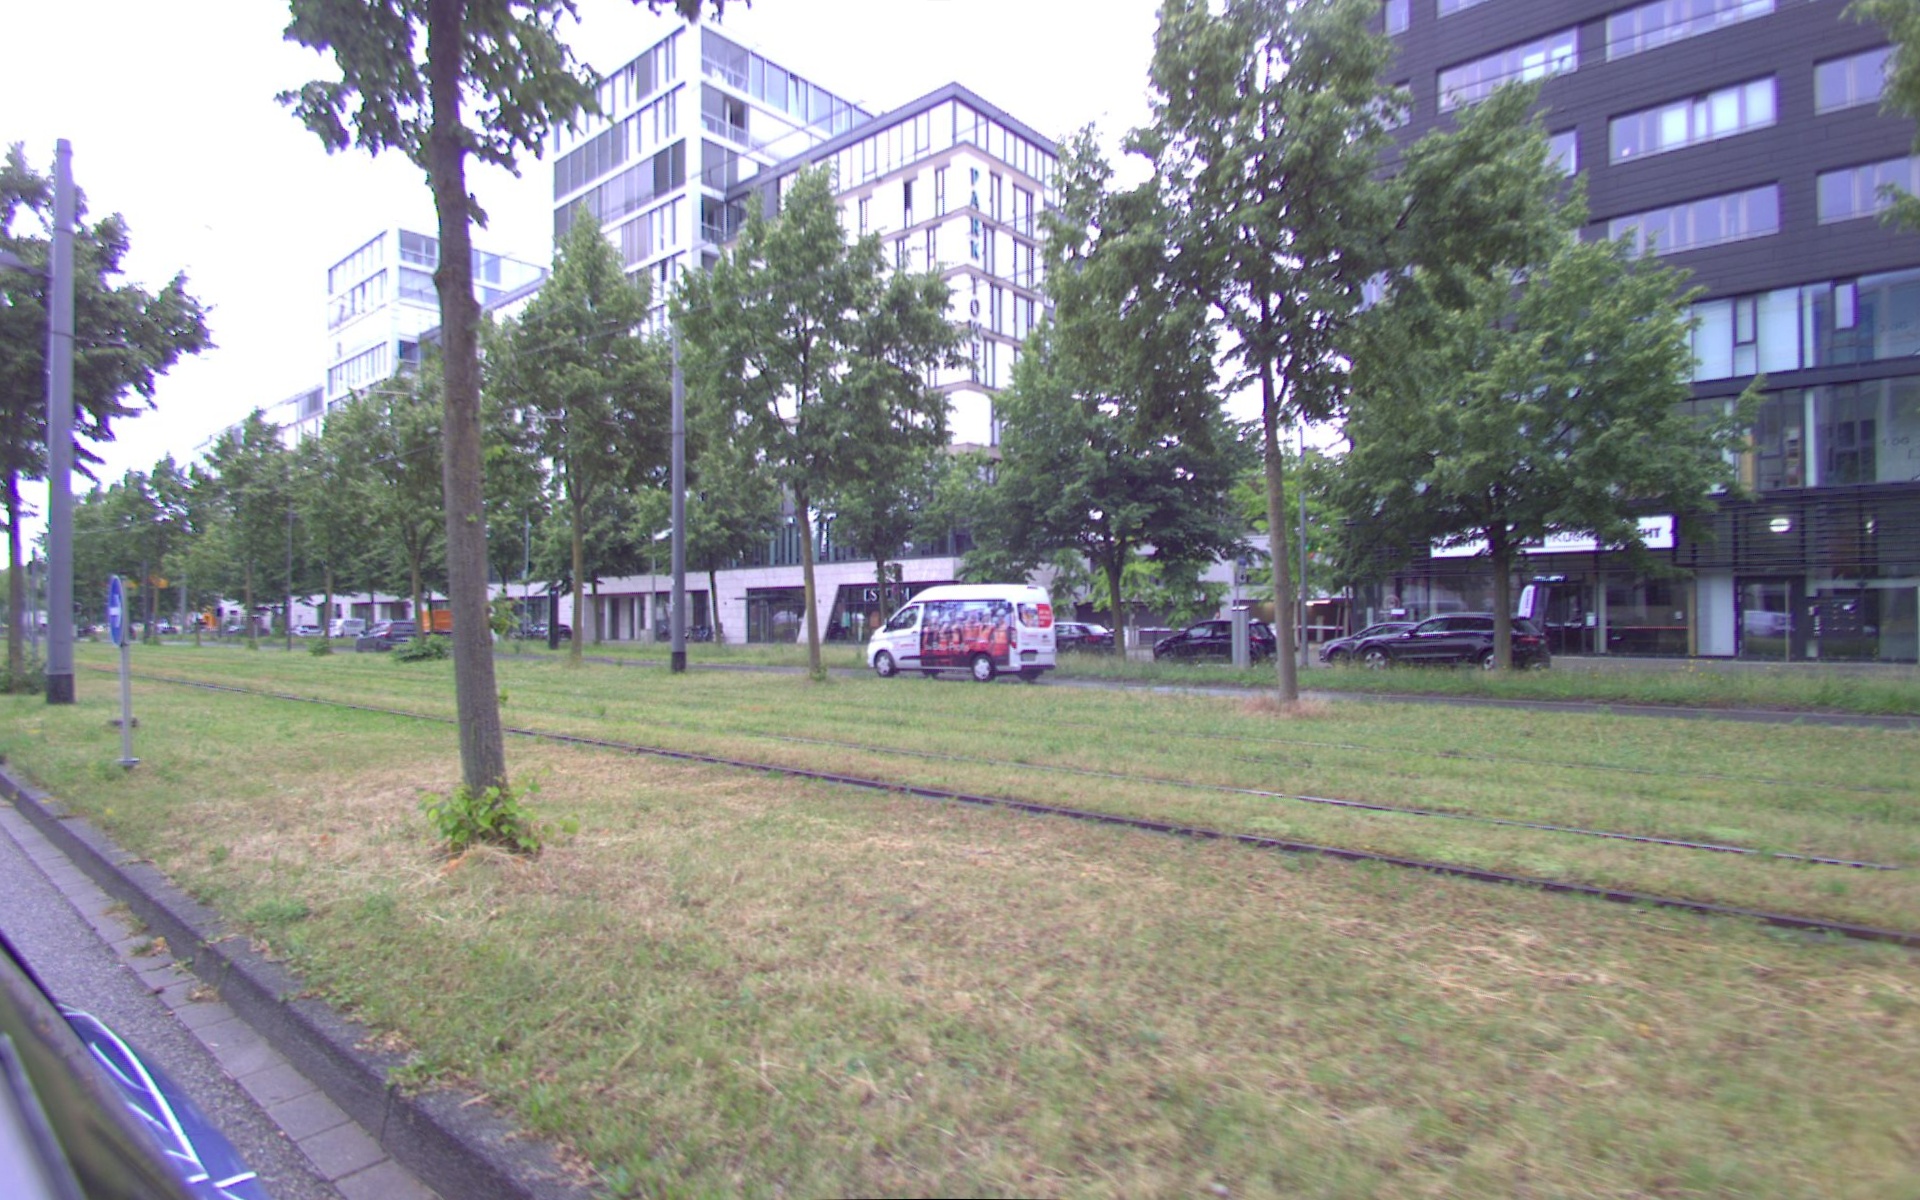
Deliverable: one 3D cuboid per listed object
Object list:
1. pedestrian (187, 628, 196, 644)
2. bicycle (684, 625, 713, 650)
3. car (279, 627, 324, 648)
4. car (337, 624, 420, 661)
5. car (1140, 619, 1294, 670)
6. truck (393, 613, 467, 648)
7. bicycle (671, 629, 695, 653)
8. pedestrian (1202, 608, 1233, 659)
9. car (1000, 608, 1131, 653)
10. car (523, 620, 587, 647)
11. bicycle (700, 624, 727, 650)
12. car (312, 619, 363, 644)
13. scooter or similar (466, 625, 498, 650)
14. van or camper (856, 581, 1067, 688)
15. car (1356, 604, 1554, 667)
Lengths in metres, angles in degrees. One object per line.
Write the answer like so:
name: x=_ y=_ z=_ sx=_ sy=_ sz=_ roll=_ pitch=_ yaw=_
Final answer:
pedestrian: x=-84.479 y=3.930 z=111.216 sx=0.793 sy=1.704 sz=0.703 roll=-2 pitch=-1 yaw=44
bicycle: x=-16.449 y=2.343 z=63.616 sx=0.680 sy=1.550 sz=1.686 roll=-2 pitch=-1 yaw=40
car: x=-56.176 y=3.161 z=86.325 sx=4.461 sy=1.725 sz=2.122 roll=-2 pitch=-1 yaw=41
car: x=-25.606 y=1.830 z=44.524 sx=4.477 sy=1.536 sz=1.843 roll=-2 pitch=-2 yaw=42
car: x=7.620 y=1.299 z=30.223 sx=3.998 sy=1.389 sz=1.973 roll=-2 pitch=-1 yaw=41
truck: x=-36.771 y=2.092 z=70.149 sx=6.305 sy=2.309 sz=2.401 roll=-2 pitch=-1 yaw=41
bicycle: x=-17.746 y=2.605 z=64.879 sx=0.546 sy=1.494 sz=1.417 roll=-2 pitch=-1 yaw=40
pedestrian: x=10.250 y=1.337 z=40.294 sx=0.784 sy=1.996 sz=0.857 roll=0 pitch=-1 yaw=-41
car: x=3.500 y=1.006 z=33.976 sx=3.998 sy=1.389 sz=1.973 roll=-2 pitch=-1 yaw=41
car: x=-23.273 y=1.899 z=58.089 sx=3.986 sy=1.476 sz=1.836 roll=-2 pitch=-2 yaw=41
bicycle: x=-15.367 y=2.315 z=63.016 sx=0.606 sy=1.550 sz=1.552 roll=-2 pitch=-1 yaw=40
car: x=-49.728 y=2.515 z=80.824 sx=5.161 sy=1.866 sz=1.973 roll=-2 pitch=-1 yaw=40
scooter or similar: x=-37.425 y=2.930 z=79.272 sx=0.883 sy=1.838 sz=2.105 roll=-2 pitch=-1 yaw=37
van or camper: x=-0.078 y=0.836 z=25.346 sx=5.400 sy=2.429 sz=1.889 roll=-2 pitch=-2 yaw=42
car: x=12.507 y=0.873 z=25.721 sx=4.239 sy=1.460 sz=1.684 roll=-2 pitch=-1 yaw=41
